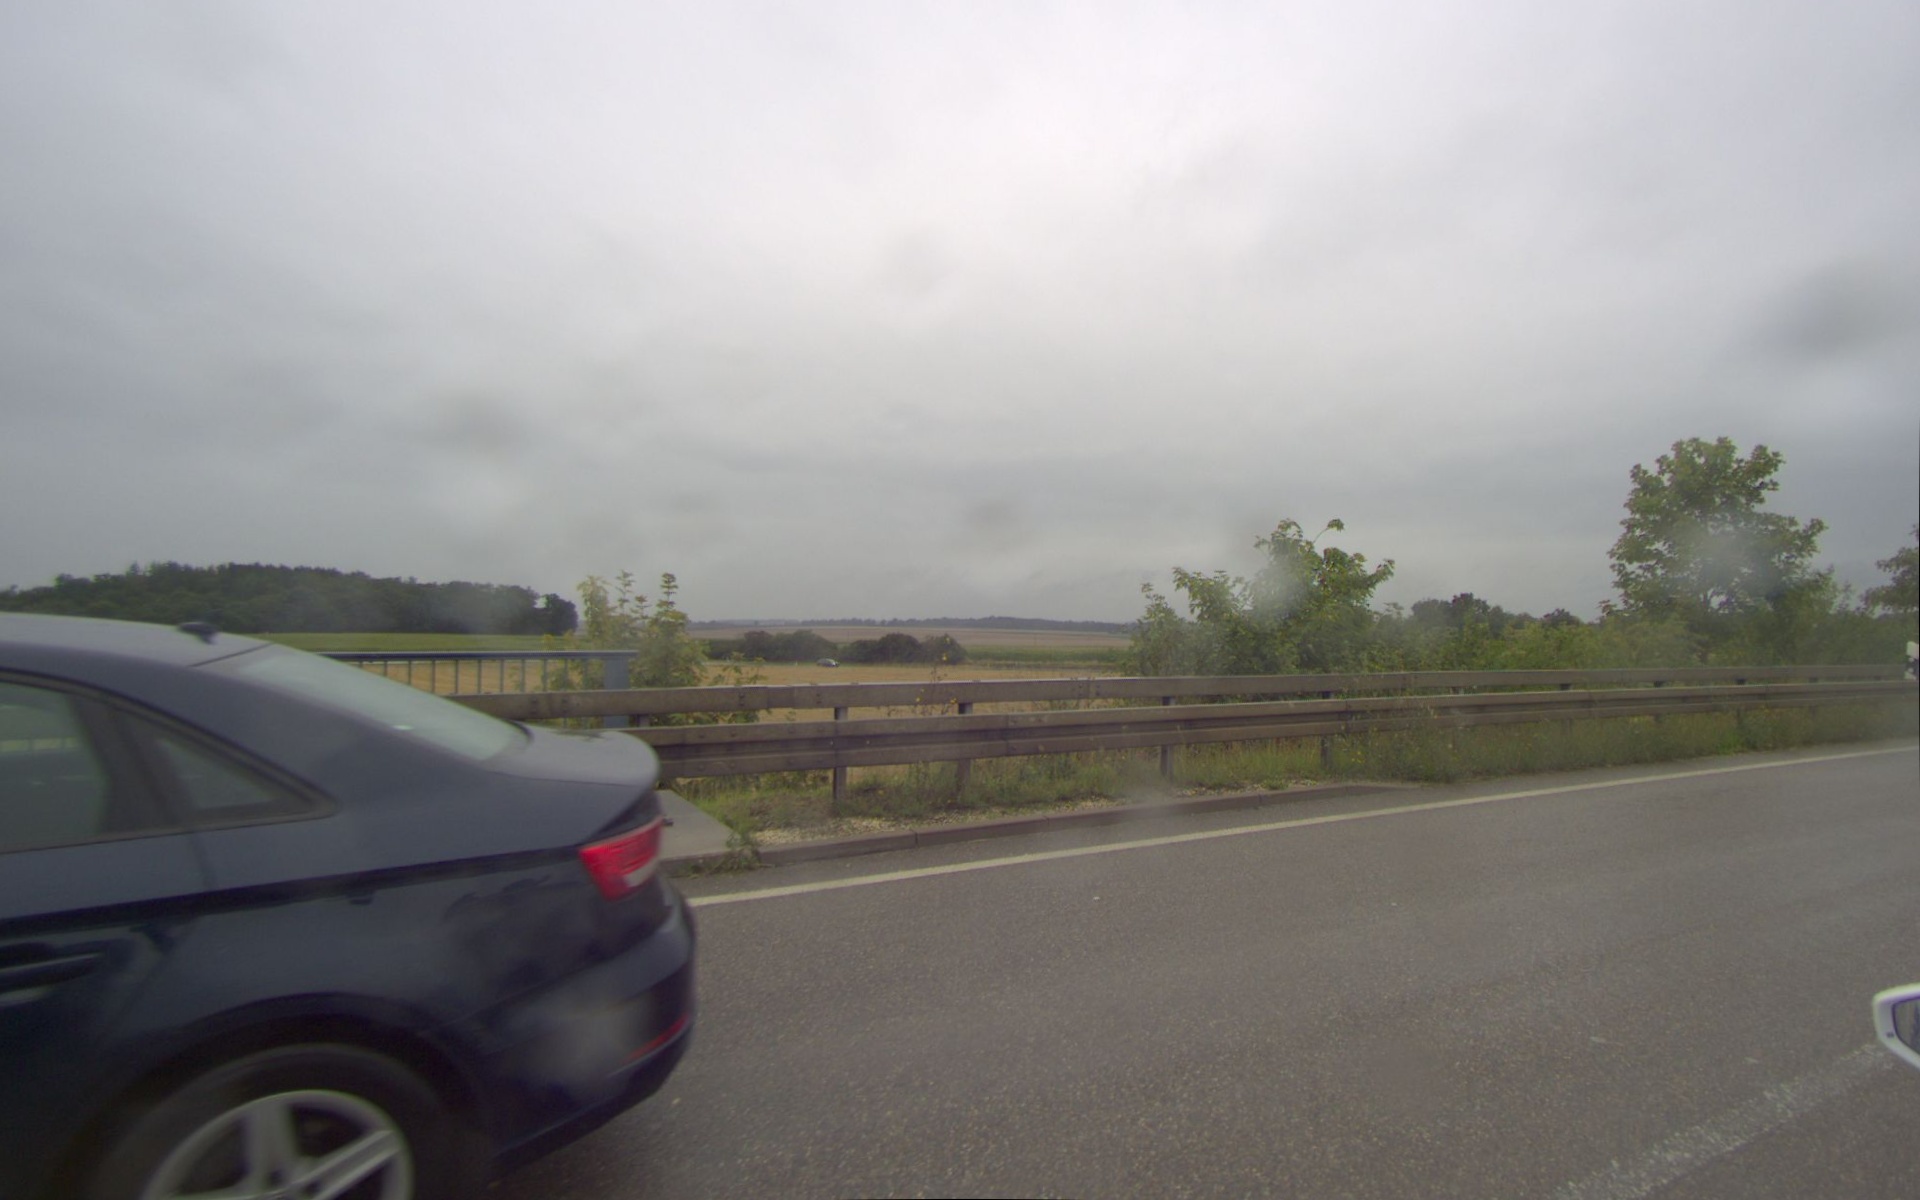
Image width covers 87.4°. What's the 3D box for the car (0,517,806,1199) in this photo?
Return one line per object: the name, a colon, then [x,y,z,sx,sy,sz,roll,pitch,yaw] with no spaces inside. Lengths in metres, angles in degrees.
car: [-2.546,0.646,2.084,4.022,1.557,1.830,2,-2,-31]
